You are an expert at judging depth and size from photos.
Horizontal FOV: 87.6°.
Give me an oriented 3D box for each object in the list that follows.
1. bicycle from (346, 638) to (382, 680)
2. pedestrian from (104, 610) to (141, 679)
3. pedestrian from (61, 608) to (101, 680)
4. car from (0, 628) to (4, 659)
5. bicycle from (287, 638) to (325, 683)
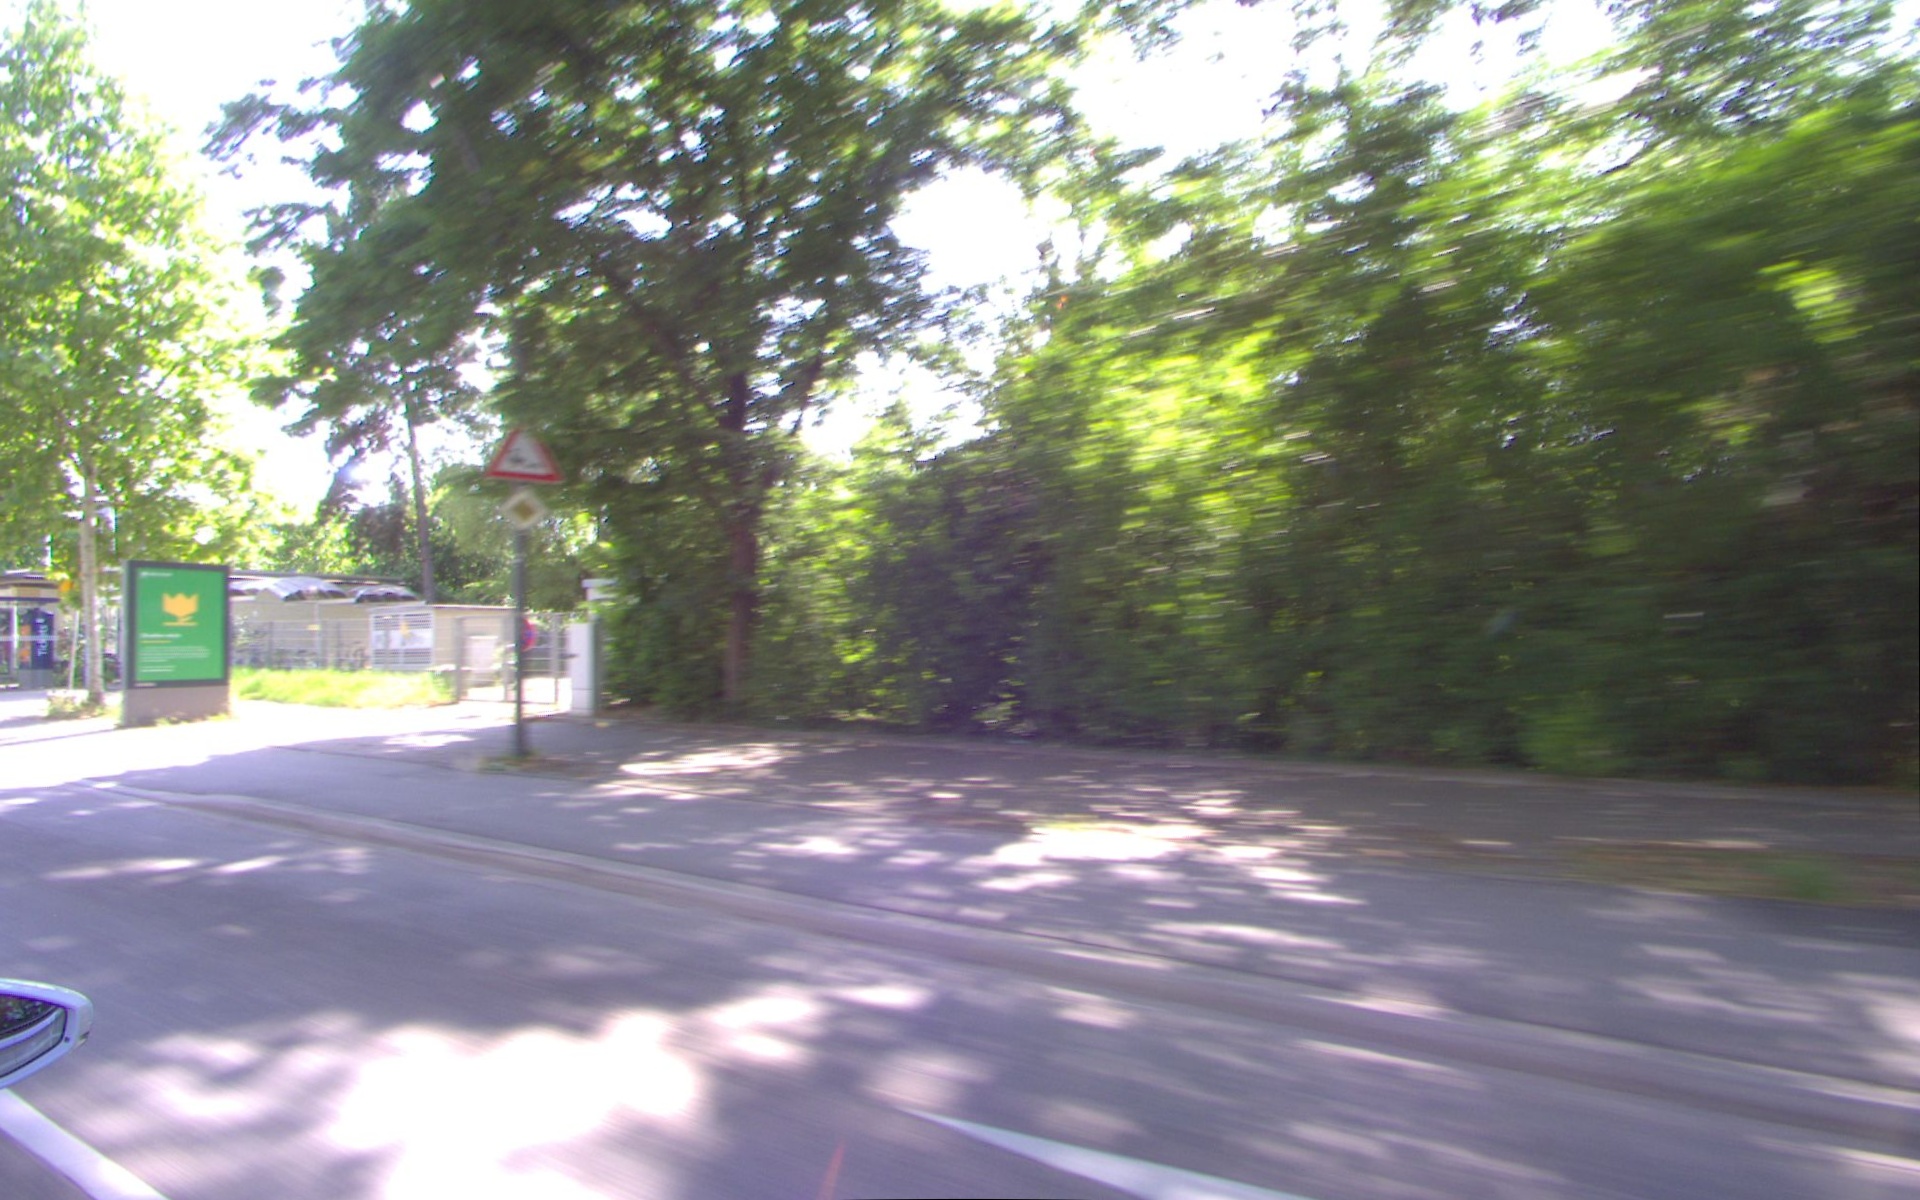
[{"bbox_3d":[-17.208,1.702,28.917,1.157,1.195,0.388,-1,-2,33],"label":"bicycle"},{"bbox_3d":[-23.515,1.243,28.130,0.588,1.920,0.612,0,-1,29],"label":"pedestrian"},{"bbox_3d":[-23.979,1.192,27.330,0.684,1.920,0.612,0,-1,29],"label":"pedestrian"},{"bbox_3d":[-54.779,2.362,54.434,1.768,1.693,3.771,-1,-3,32],"label":"car"},{"bbox_3d":[-17.768,1.644,27.196,1.157,1.195,0.388,-1,-2,33],"label":"bicycle"}]
